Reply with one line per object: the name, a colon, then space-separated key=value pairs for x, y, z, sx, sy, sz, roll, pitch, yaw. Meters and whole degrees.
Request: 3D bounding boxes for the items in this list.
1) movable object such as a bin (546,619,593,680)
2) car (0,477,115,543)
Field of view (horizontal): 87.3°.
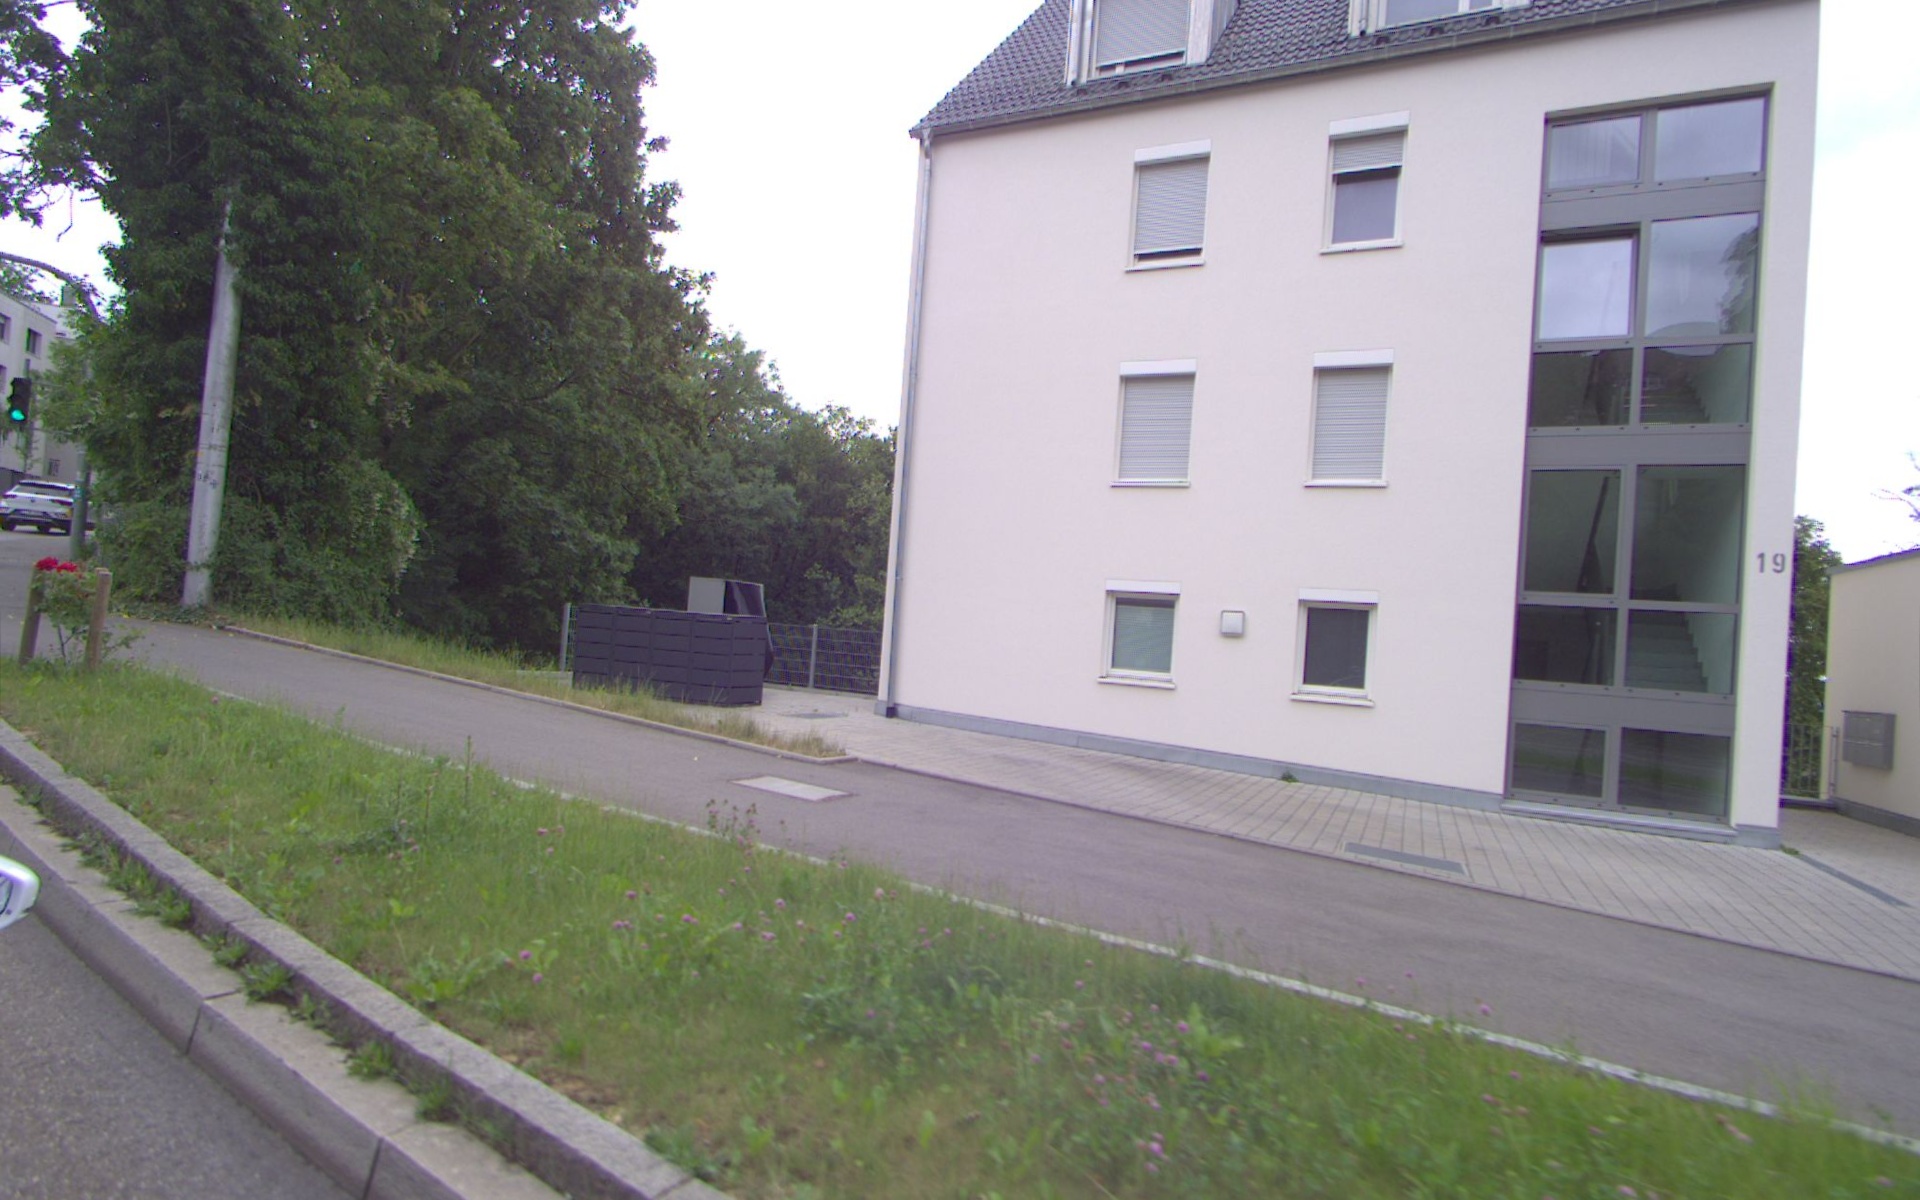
movable object such as a bin: x=-6.417 y=0.814 z=16.526 sx=0.491 sy=0.934 sz=0.383 roll=7 pitch=0 yaw=28
car: x=-27.779 y=-2.713 z=30.933 sx=1.766 sy=1.597 sz=3.972 roll=8 pitch=-1 yaw=-28
